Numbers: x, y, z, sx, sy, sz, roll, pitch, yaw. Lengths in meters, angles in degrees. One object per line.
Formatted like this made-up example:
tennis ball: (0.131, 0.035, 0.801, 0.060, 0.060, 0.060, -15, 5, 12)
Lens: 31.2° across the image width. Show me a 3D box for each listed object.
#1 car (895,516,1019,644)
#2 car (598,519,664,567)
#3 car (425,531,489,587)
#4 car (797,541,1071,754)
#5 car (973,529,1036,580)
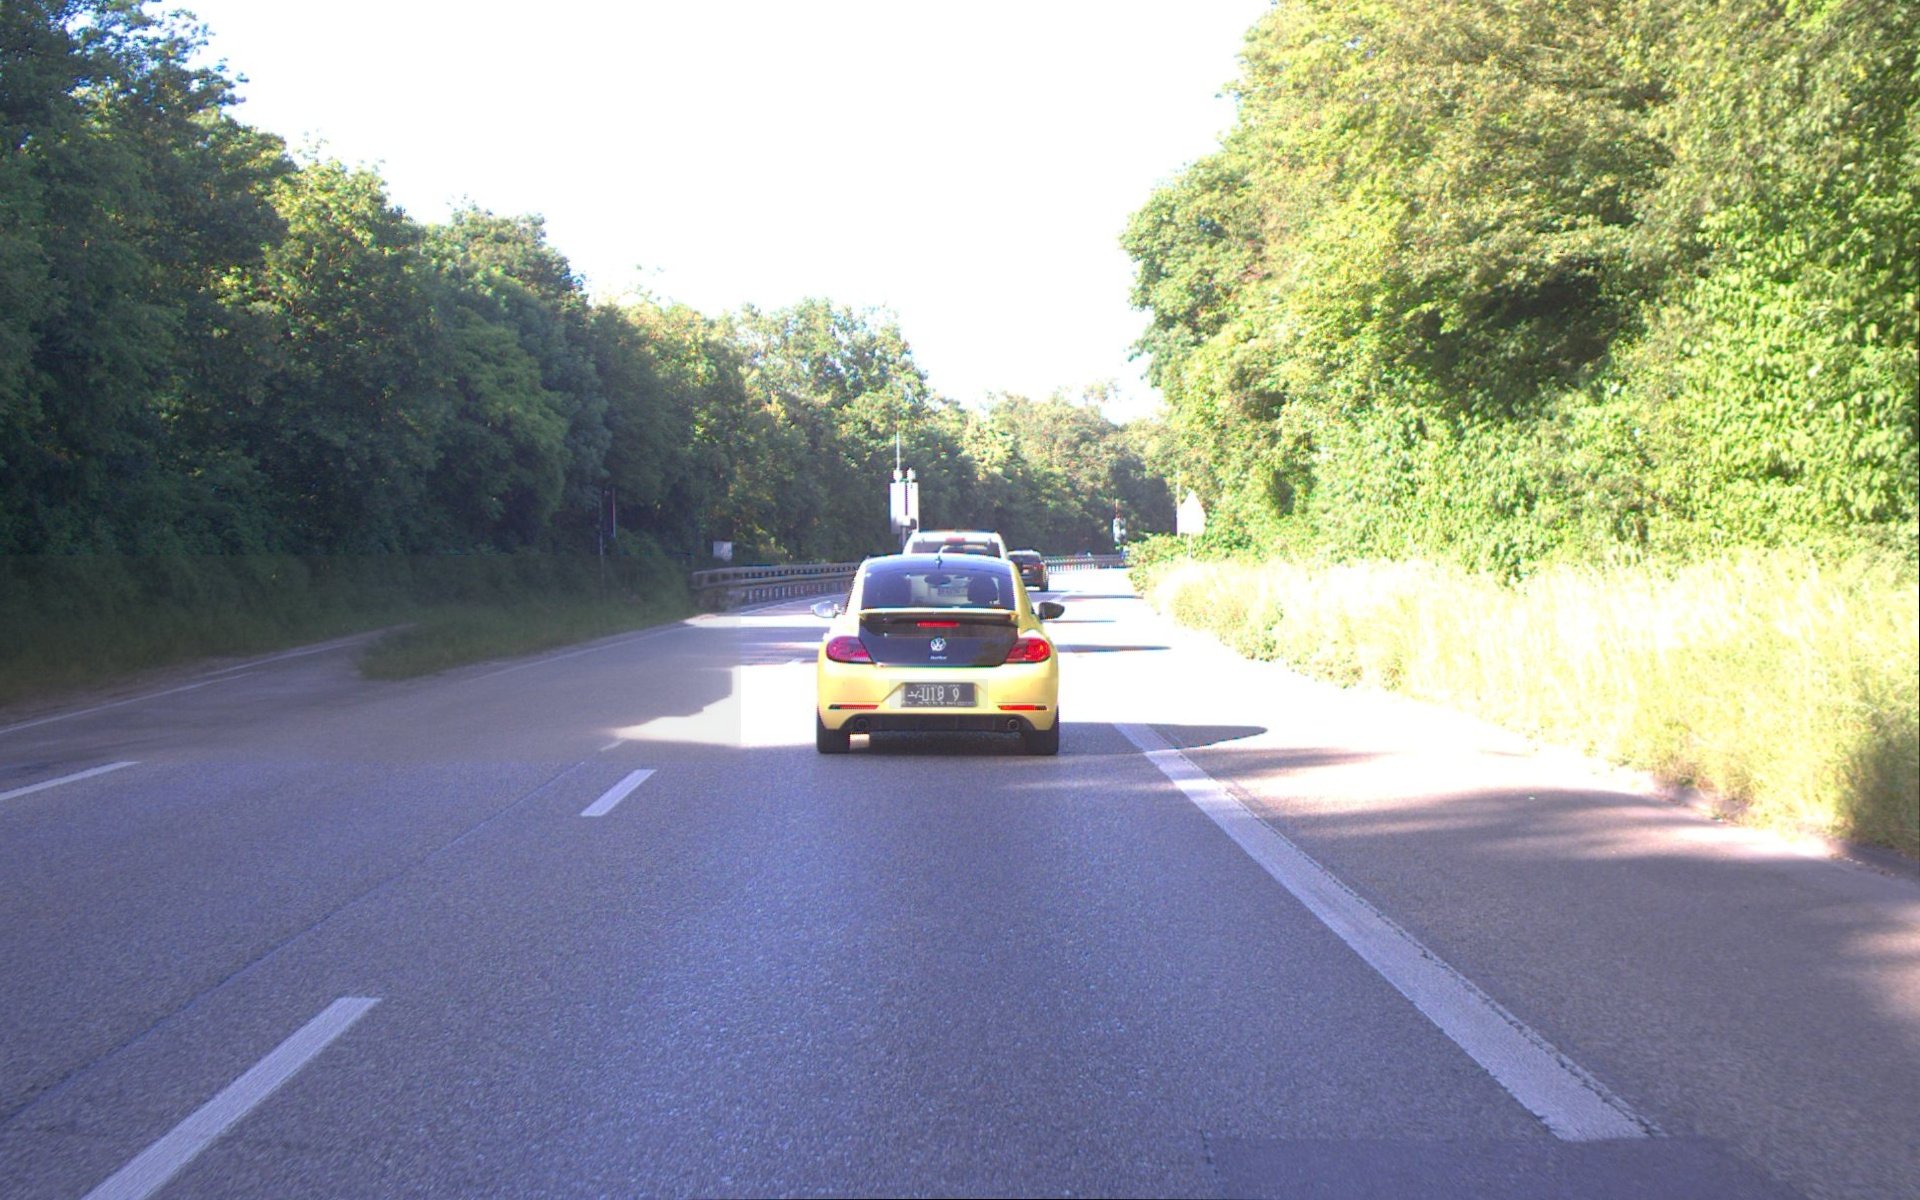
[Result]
car: (-0.015, -0.324, 51.354, 1.741, 1.823, 3.422, 1, 1, 1)
car: (-12.617, -2.178, 131.957, 1.993, 1.744, 4.551, -2, 1, 1)
car: (-14.670, -1.208, 100.394, 1.414, 1.614, 2.875, -1, 1, 1)
car: (-0.138, 0.309, 26.069, 1.939, 1.503, 3.422, 0, 1, 2)
car: (1.655, -1.743, 130.323, 2.263, 1.869, 5.076, 1, 1, 0)
